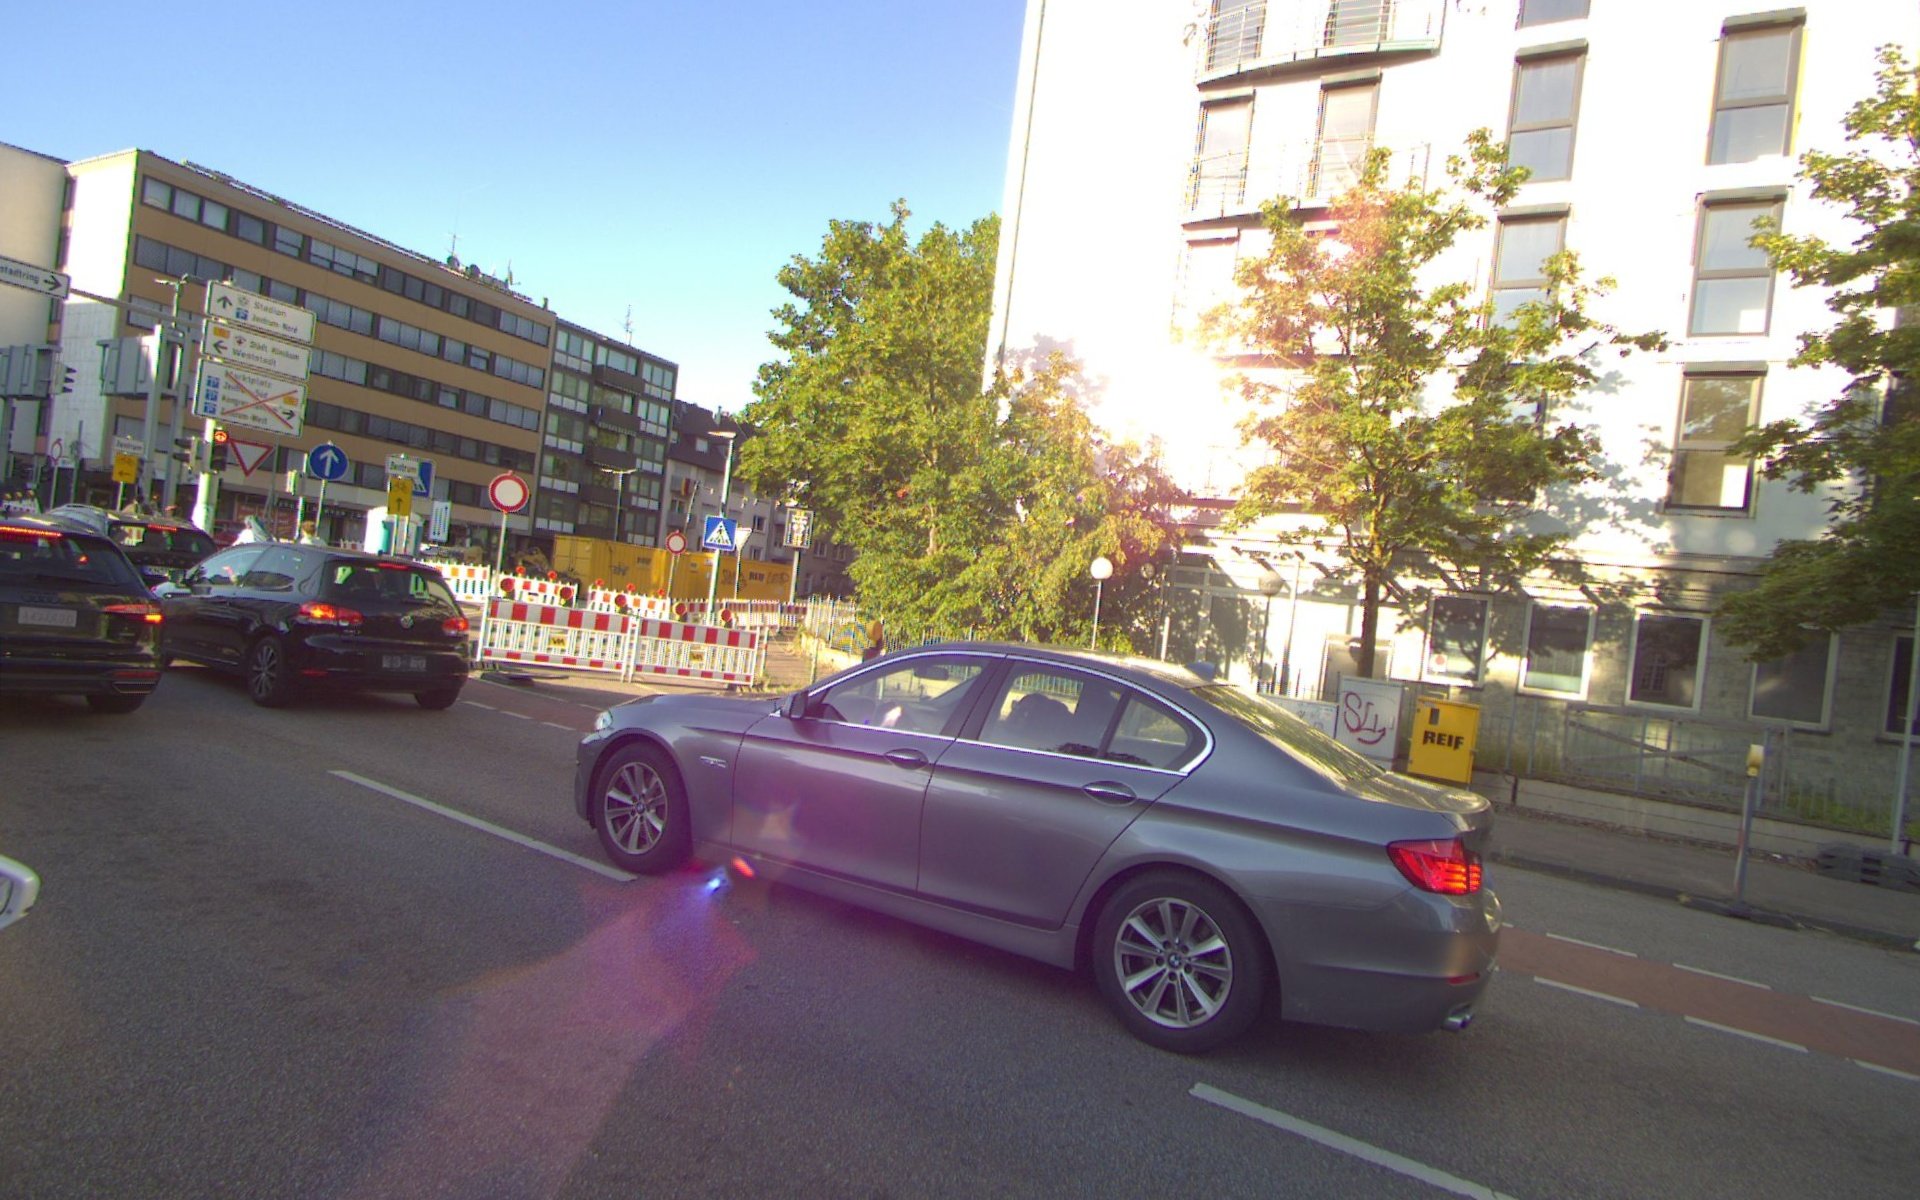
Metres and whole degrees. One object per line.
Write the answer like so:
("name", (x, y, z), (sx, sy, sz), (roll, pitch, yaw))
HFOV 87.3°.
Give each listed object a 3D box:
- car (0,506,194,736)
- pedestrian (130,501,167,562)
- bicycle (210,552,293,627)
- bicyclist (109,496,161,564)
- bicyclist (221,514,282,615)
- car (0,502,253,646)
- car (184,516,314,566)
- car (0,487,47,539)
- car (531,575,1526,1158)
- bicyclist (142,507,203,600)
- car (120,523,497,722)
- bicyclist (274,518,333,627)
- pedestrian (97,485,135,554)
("car", (-7.694, -0.051, 7.485), (4.144, 1.437, 1.685), (7, -2, 32))
("pedestrian", (-23.589, -1.994, 29.254), (0.447, 1.691, 0.602), (7, 0, 33))
("bicycle", (-11.477, -0.177, 16.277), (1.825, 1.020, 0.337), (7, 0, 32))
("bicyclist", (-21.515, -1.820, 26.242), (0.800, 1.608, 0.619), (8, 0, 29))
("bicyclist", (-11.496, -0.571, 16.323), (0.713, 1.544, 0.441), (7, 0, 32))
("car", (-11.093, -0.361, 13.355), (3.250, 1.466, 1.508), (7, -2, 32))
("car", (-28.717, -2.356, 40.757), (1.650, 1.435, 4.001), (7, -1, 18))
("car", (-31.758, -2.995, 31.774), (1.649, 1.535, 4.003), (7, -1, 11))
("car", (0.170, 0.909, 5.148), (4.587, 1.466, 1.819), (7, -1, 29))
("bicyclist", (-13.951, -0.826, 17.820), (0.713, 1.544, 0.514), (7, 0, 32))
("car", (-6.591, 0.194, 10.105), (3.683, 1.466, 1.637), (7, -2, 32))
("bicyclist", (-9.804, -0.407, 15.034), (0.474, 1.544, 0.441), (7, 0, 31))
("pedestrian", (-23.895, -2.282, 28.495), (0.479, 1.857, 0.570), (7, 0, 34))
